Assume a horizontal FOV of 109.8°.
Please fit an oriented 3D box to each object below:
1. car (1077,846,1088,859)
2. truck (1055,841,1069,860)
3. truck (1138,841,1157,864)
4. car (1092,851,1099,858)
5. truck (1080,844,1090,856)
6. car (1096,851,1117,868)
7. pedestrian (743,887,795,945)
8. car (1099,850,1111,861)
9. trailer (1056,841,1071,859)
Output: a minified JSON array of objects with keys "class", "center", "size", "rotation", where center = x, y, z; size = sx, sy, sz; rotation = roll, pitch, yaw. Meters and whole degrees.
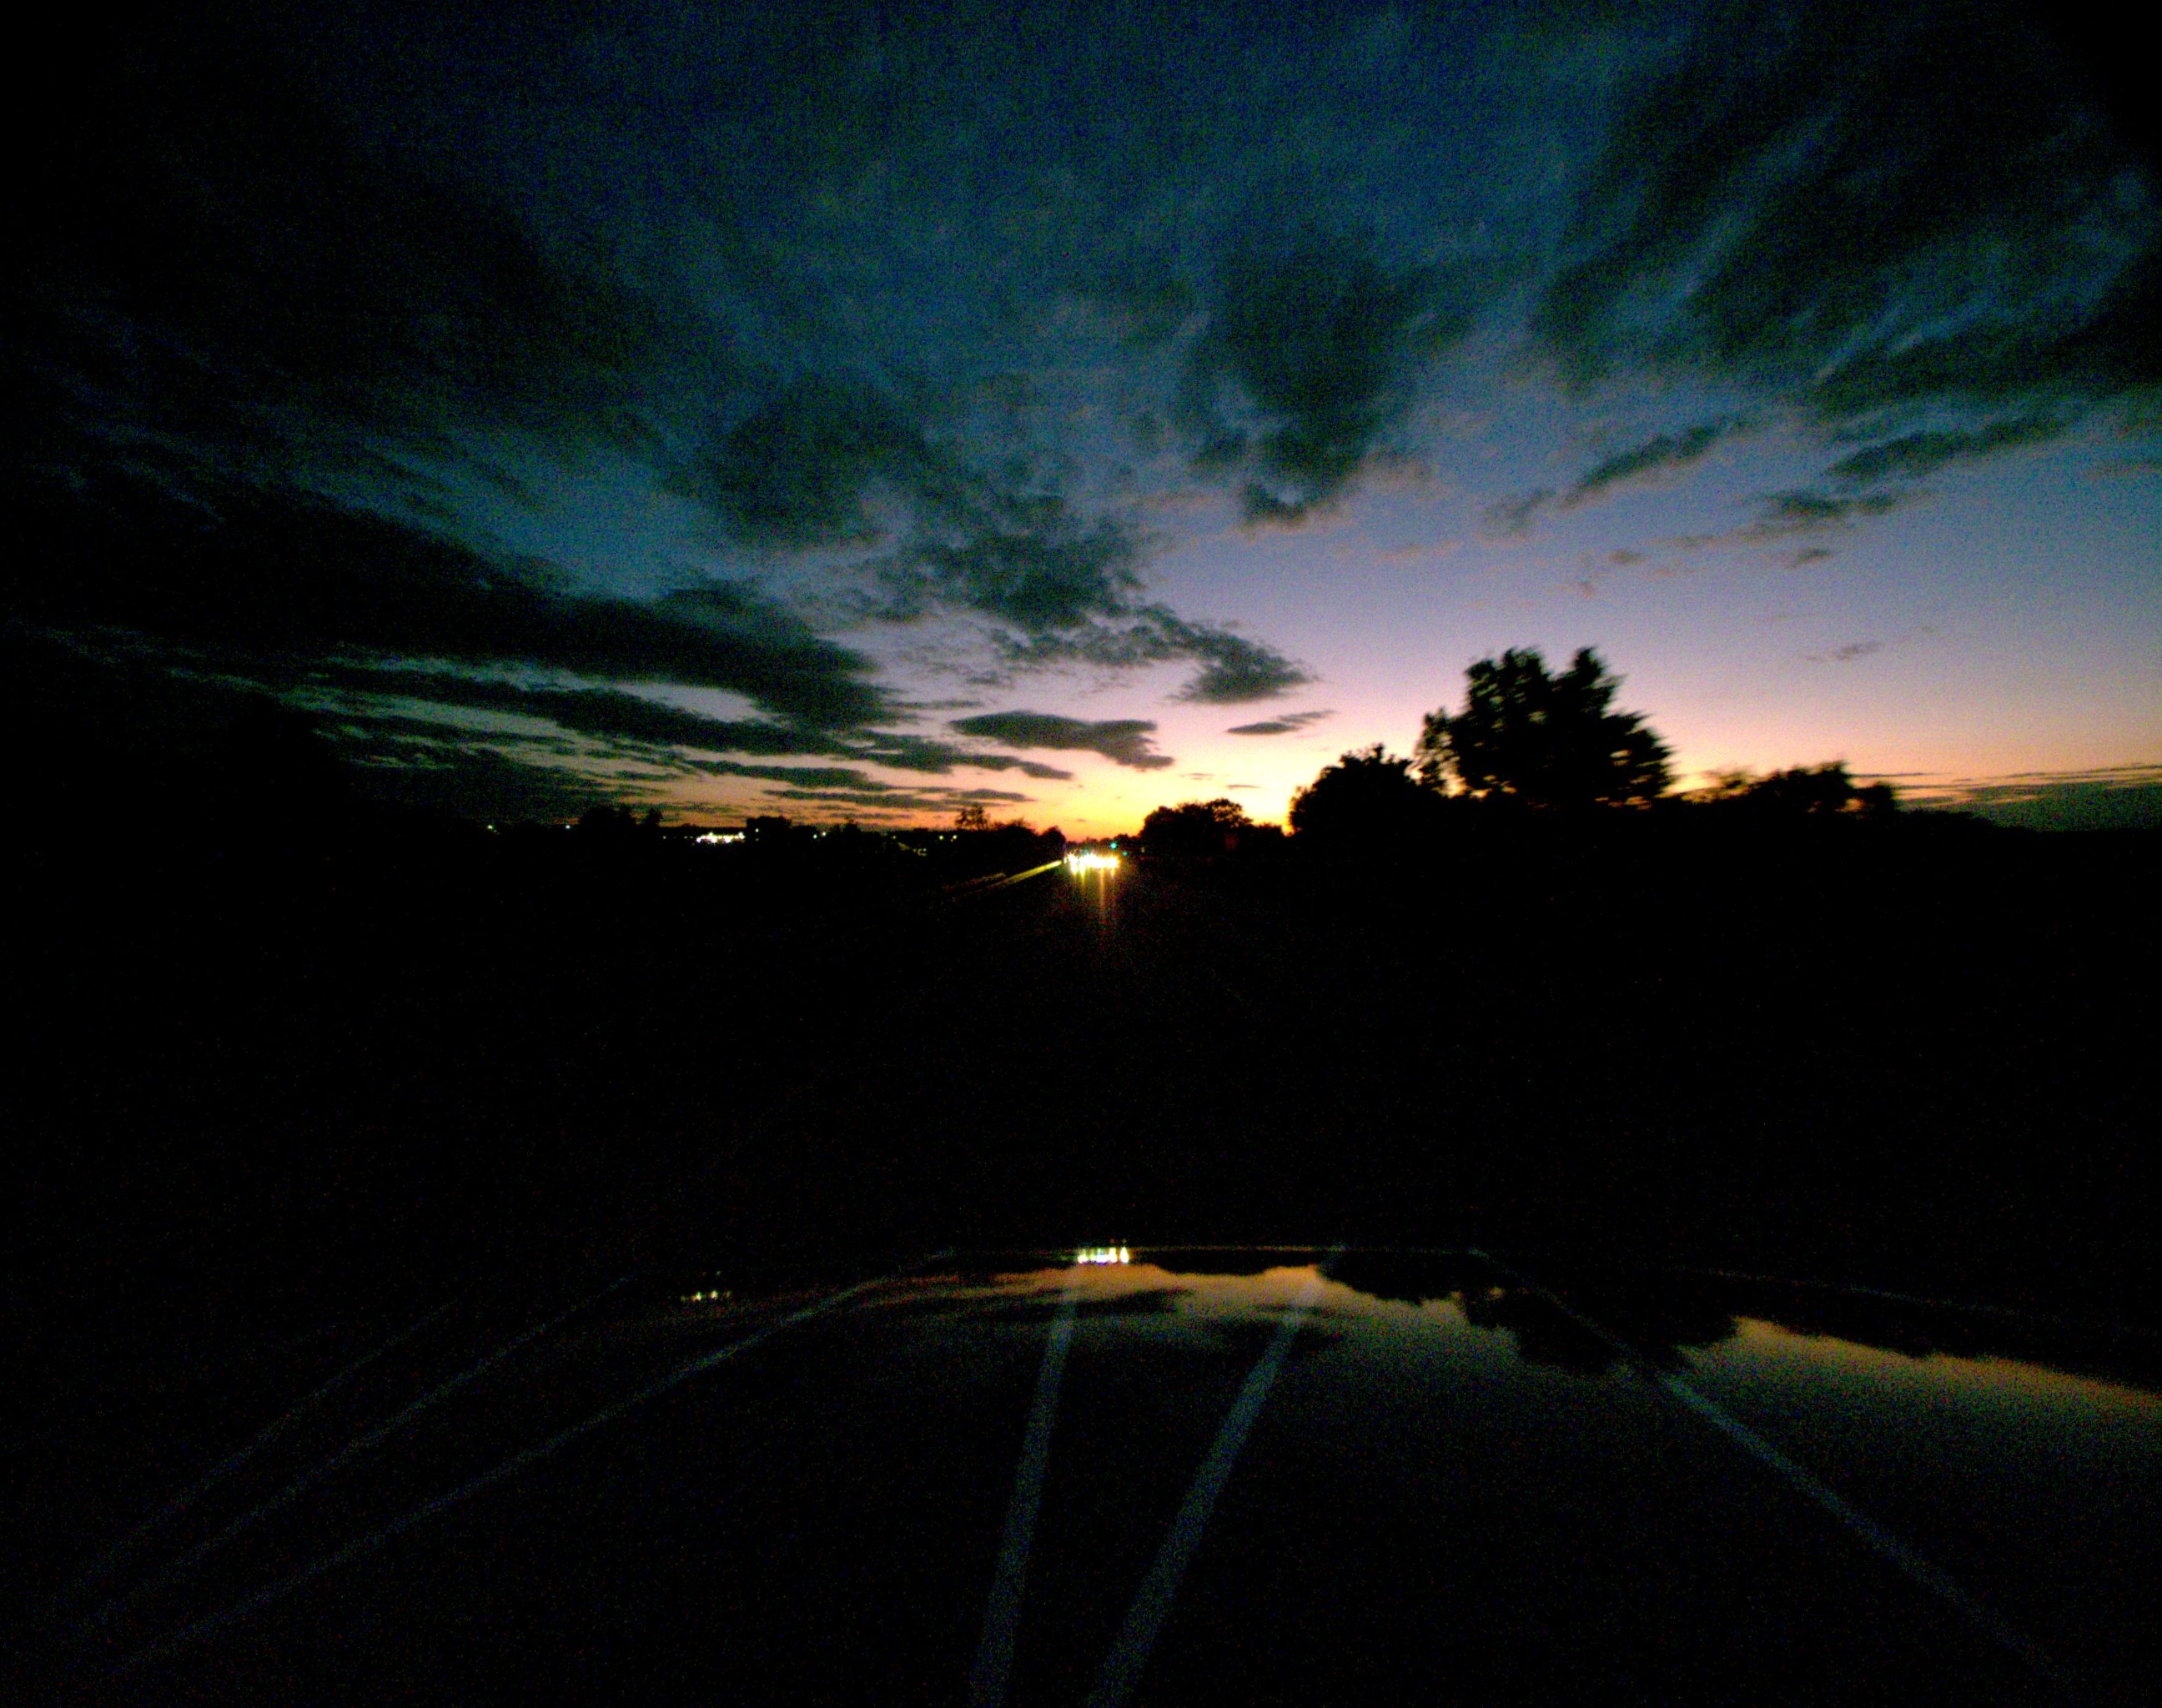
[{"class":"car","center":[0.185,-0.260,131.674],"size":[1.741,2.002,3.999],"rotation":[-2,0,-1]},{"class":"truck","center":[-3.857,-0.825,156.104],"size":[2.491,3.778,5.498],"rotation":[-2,1,1]},{"class":"truck","center":[15.504,-0.404,177.696],"size":[3.211,5.226,12.606],"rotation":[-2,1,0]},{"class":"car","center":[4.276,0.115,221.417],"size":[1.998,2.002,4.000],"rotation":[-2,1,1]},{"class":"truck","center":[1.361,-1.305,251.048],"size":[3.016,3.674,9.058],"rotation":[-2,1,1]},{"class":"car","center":[2.638,0.563,79.964],"size":[1.999,1.635,4.296],"rotation":[-2,1,0]},{"class":"pedestrian","center":[-9.572,1.895,23.384],"size":[1.064,1.633,1.118],"rotation":[-2,1,0]},{"class":"car","center":[4.230,0.295,135.177],"size":[1.998,1.778,3.999],"rotation":[-2,1,0]},{"class":"trailer","center":[-3.675,-0.913,163.651],"size":[2.474,3.789,12.671],"rotation":[-2,1,2]}]
